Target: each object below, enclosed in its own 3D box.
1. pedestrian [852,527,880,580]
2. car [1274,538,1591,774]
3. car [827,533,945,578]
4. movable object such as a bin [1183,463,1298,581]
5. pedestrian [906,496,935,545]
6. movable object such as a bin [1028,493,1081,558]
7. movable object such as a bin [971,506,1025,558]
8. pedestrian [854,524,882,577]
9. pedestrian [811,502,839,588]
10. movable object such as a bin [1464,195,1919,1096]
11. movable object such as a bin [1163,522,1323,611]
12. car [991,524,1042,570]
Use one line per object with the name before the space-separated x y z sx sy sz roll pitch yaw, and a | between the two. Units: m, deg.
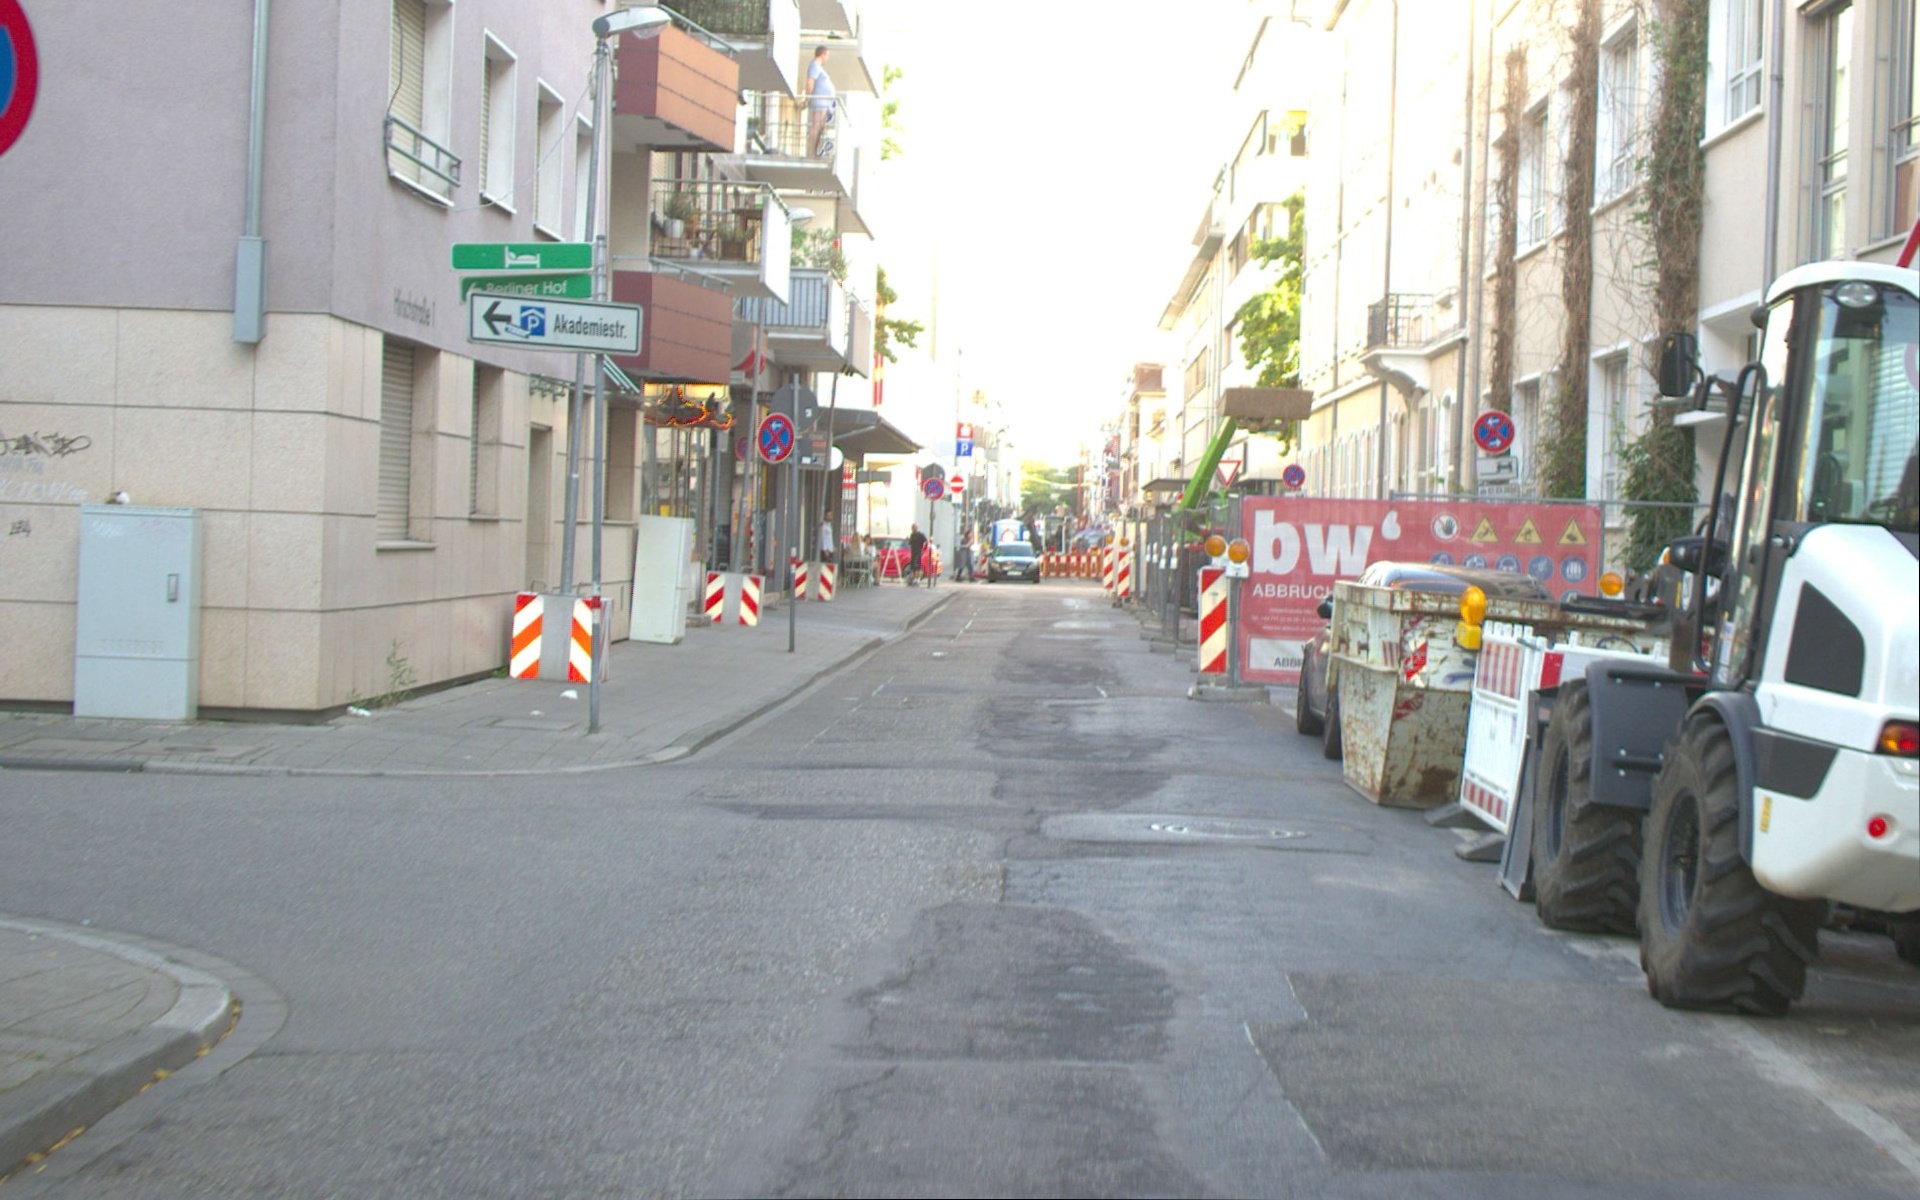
pedestrian | -2.310 -1.153 84.759 0.573 1.271 0.713 4 2 2
car | 3.460 0.347 25.931 1.787 1.466 4.446 4 2 1
car | -2.225 -1.349 104.096 3.510 1.271 1.475 1 1 0
movable object such as a bin | 7.039 -1.974 86.756 2.605 2.829 4.450 1 1 2
pedestrian | -1.048 -2.106 90.984 0.702 1.271 0.713 2 1 2
movable object such as a bin | 4.002 -3.174 145.952 2.156 2.654 4.573 2 1 1
movable object such as a bin | 1.531 -2.695 135.927 1.993 2.007 4.000 1 1 2
pedestrian | -2.304 -1.249 85.973 0.573 1.271 0.713 4 2 2
pedestrian | -2.907 -1.196 74.203 0.530 1.828 0.563 2 2 -4
movable object such as a bin | 3.332 0.086 12.987 2.016 2.614 5.751 4 2 2
movable object such as a bin | 5.888 -0.757 72.599 2.736 1.633 7.553 3 1 1
car | 1.971 -1.857 120.793 1.629 1.545 3.143 1 2 -2
